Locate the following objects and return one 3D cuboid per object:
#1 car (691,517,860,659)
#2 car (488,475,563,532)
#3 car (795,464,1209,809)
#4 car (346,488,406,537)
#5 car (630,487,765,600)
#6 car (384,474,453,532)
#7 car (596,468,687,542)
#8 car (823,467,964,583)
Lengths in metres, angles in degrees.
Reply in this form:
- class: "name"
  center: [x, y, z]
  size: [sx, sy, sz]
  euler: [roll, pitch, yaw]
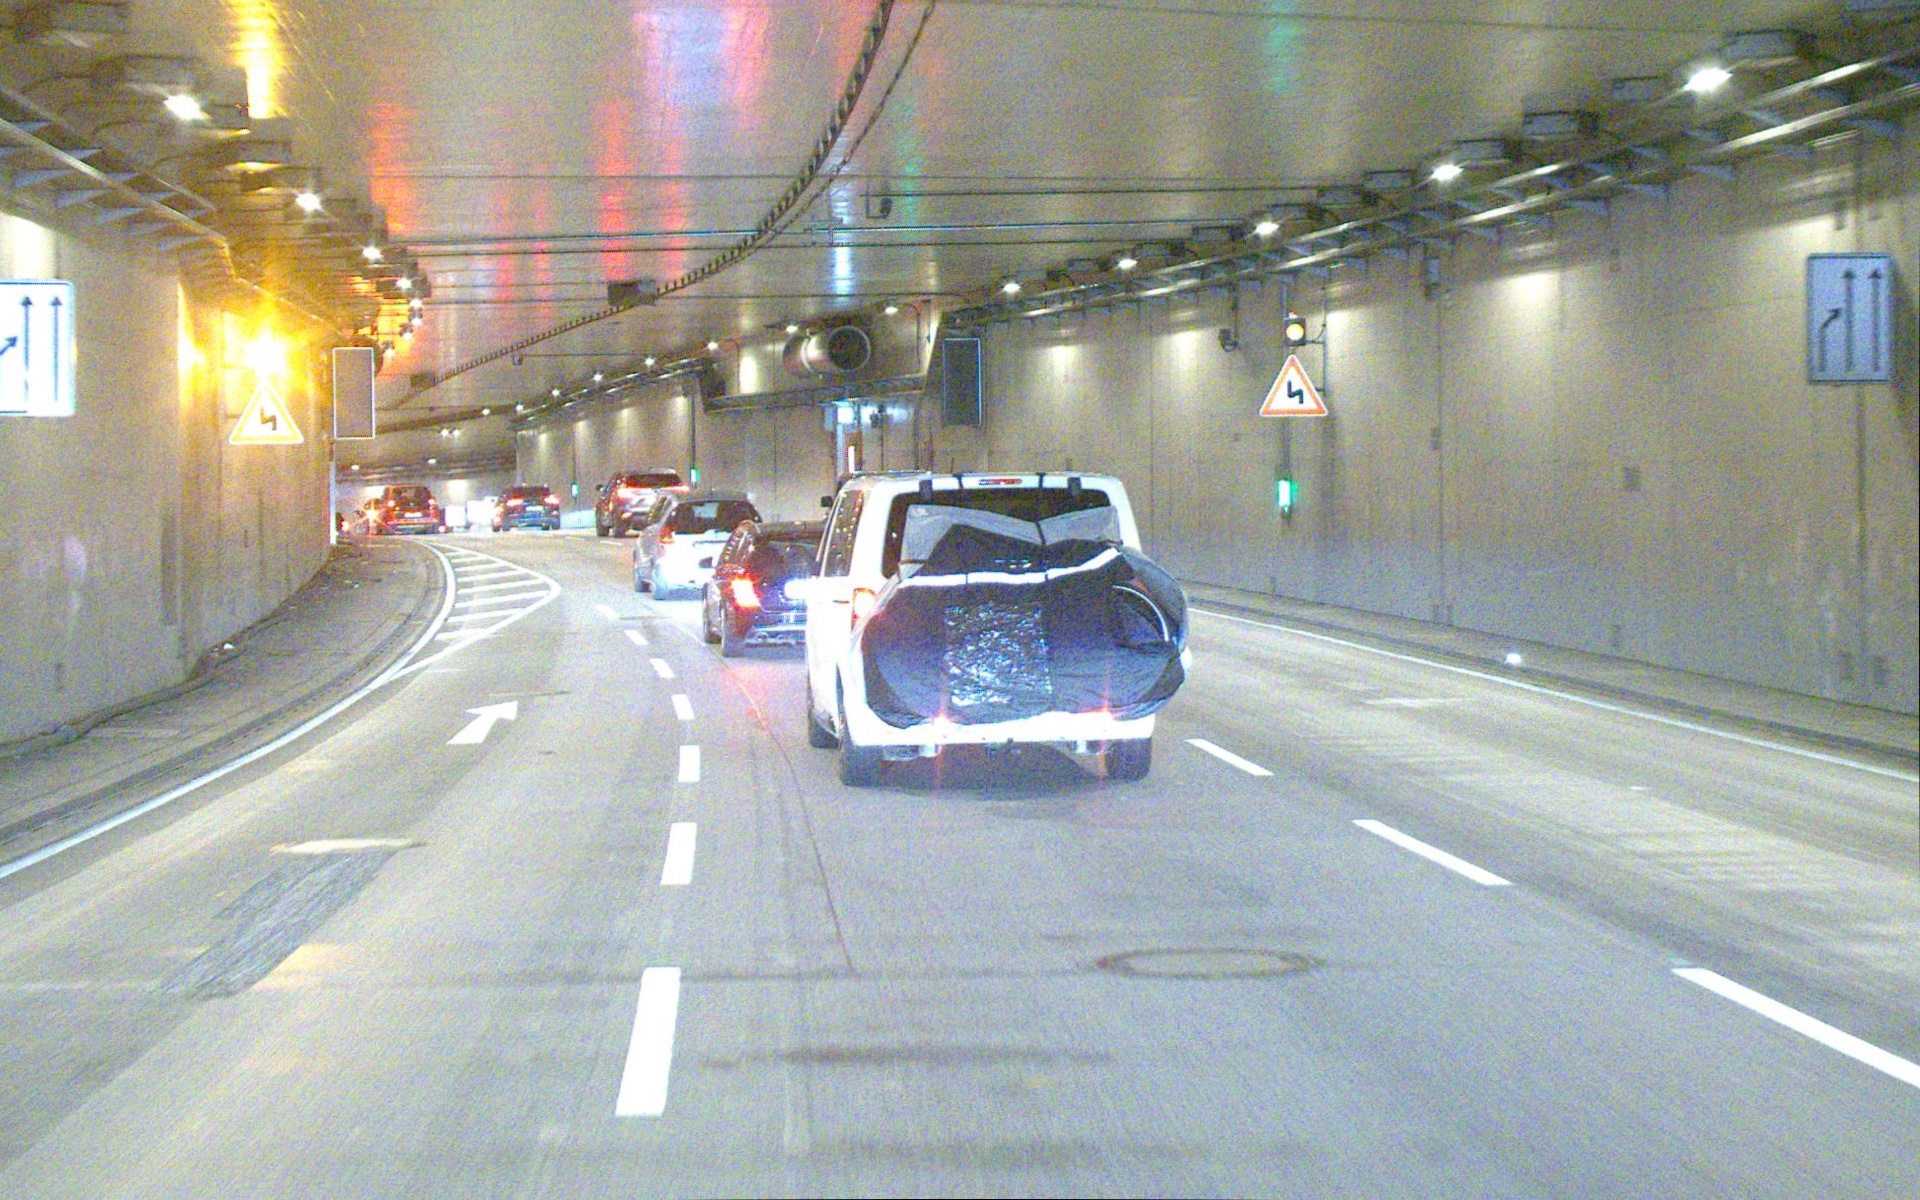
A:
- class: "car"
  center: [-2.000, -0.162, 36.586]
  size: [1.602, 1.390, 3.278]
  euler: [-1, 2, -6]
- class: "car"
  center: [-13.253, -2.936, 104.741]
  size: [1.822, 1.624, 3.844]
  euler: [1, 0, -14]
- class: "car"
  center: [0.111, 0.138, 21.429]
  size: [1.993, 1.841, 5.302]
  euler: [-1, 1, -5]
- class: "car"
  center: [-20.539, -3.052, 120.864]
  size: [1.822, 1.624, 3.844]
  euler: [1, 0, -13]
- class: "car"
  center: [-3.883, -0.850, 50.485]
  size: [1.602, 1.588, 3.357]
  euler: [0, 1, -11]
- class: "car"
  center: [-16.335, -2.895, 103.534]
  size: [1.822, 1.624, 3.844]
  euler: [1, 0, -12]
- class: "car"
  center: [-7.501, -2.216, 80.834]
  size: [1.602, 1.625, 3.356]
  euler: [1, 0, -14]
- class: "car"
  center: [-1.115, -1.176, 55.821]
  size: [1.872, 1.755, 4.001]
  euler: [1, 0, -7]
